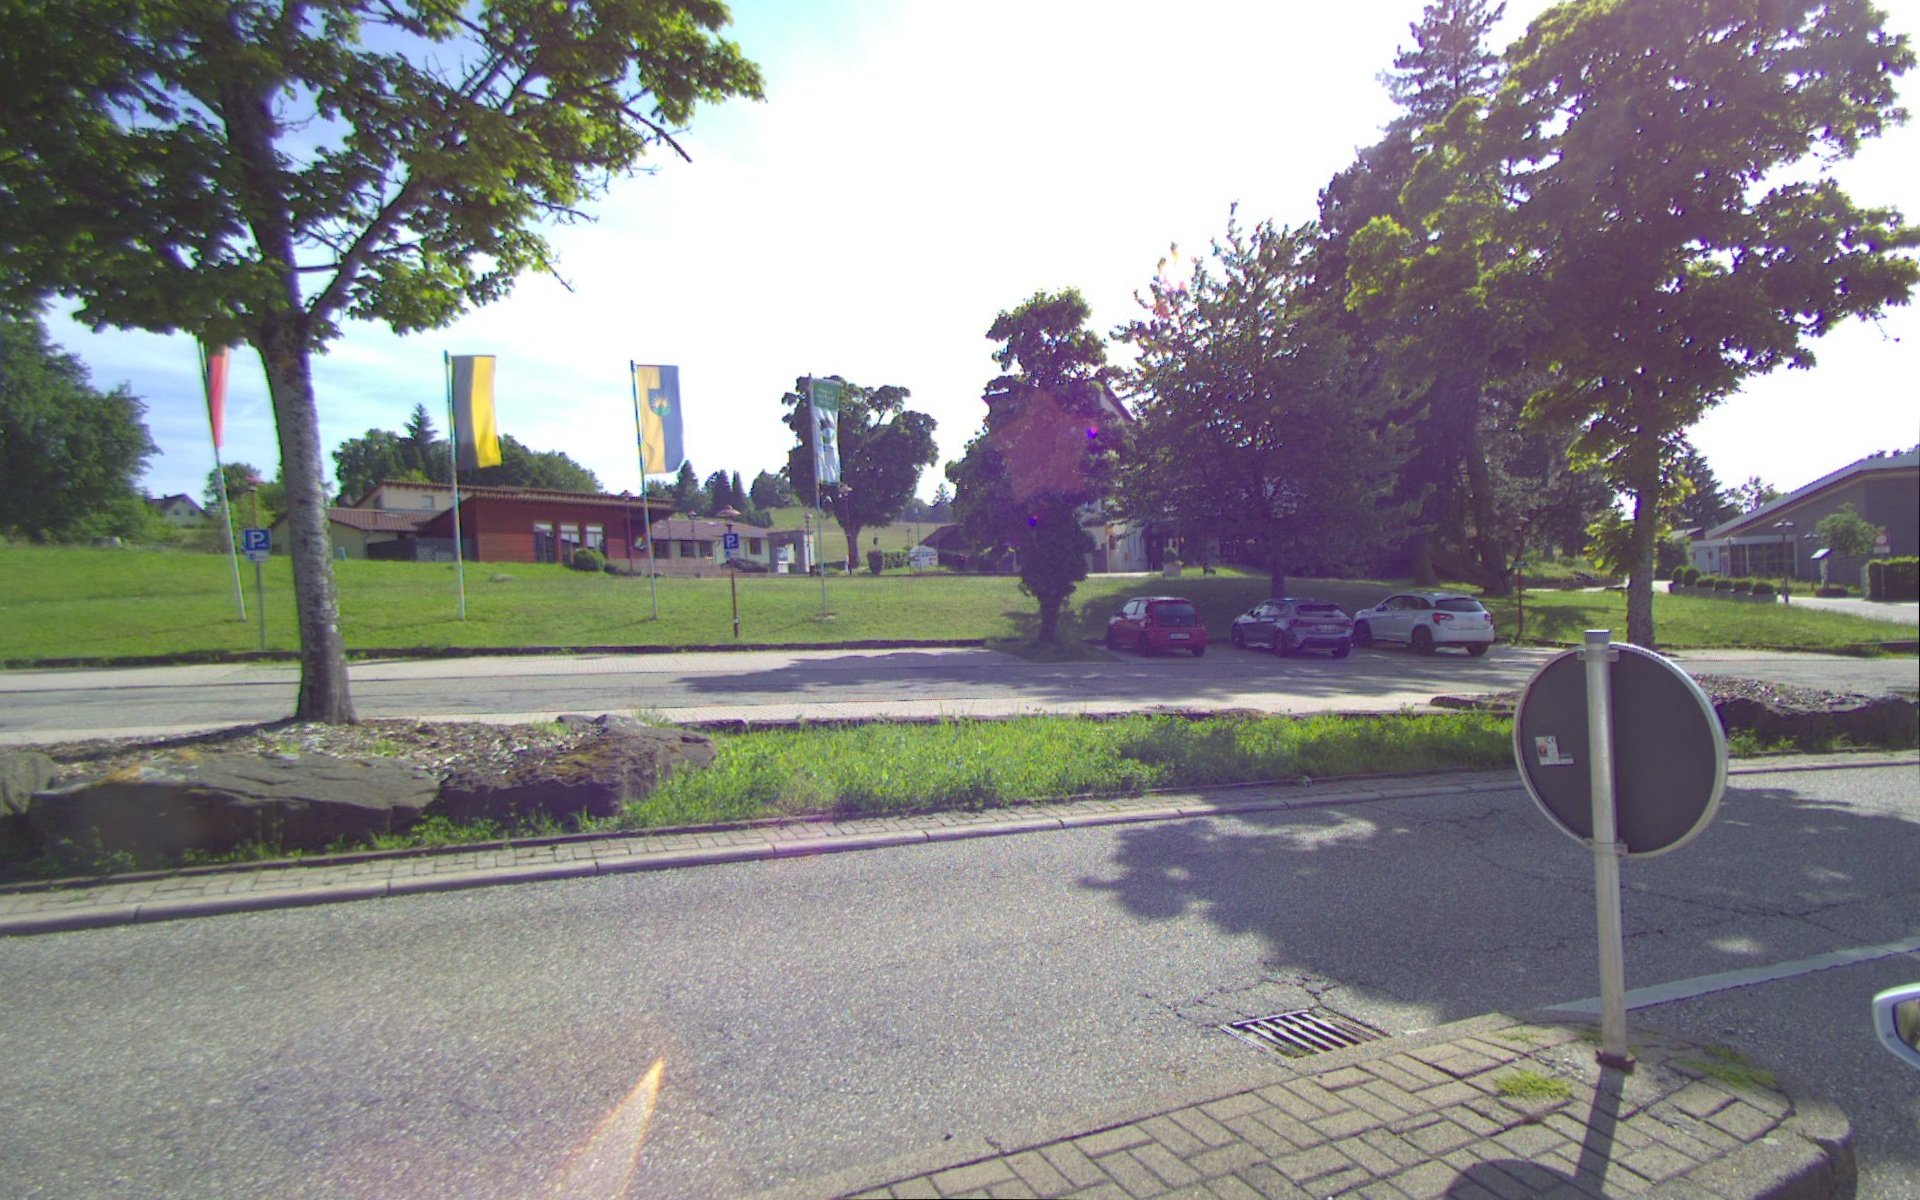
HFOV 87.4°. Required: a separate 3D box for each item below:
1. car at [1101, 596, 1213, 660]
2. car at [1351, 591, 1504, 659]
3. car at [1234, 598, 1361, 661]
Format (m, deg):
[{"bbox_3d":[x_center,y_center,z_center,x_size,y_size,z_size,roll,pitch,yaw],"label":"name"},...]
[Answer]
[{"bbox_3d":[5.082,0.685,26.269,1.745,1.490,3.200,0,1,-12],"label":"car"},{"bbox_3d":[12.458,0.605,27.057,1.745,1.631,3.933,0,1,-11],"label":"car"},{"bbox_3d":[8.713,0.710,26.240,1.743,1.453,3.709,1,1,-6],"label":"car"}]
